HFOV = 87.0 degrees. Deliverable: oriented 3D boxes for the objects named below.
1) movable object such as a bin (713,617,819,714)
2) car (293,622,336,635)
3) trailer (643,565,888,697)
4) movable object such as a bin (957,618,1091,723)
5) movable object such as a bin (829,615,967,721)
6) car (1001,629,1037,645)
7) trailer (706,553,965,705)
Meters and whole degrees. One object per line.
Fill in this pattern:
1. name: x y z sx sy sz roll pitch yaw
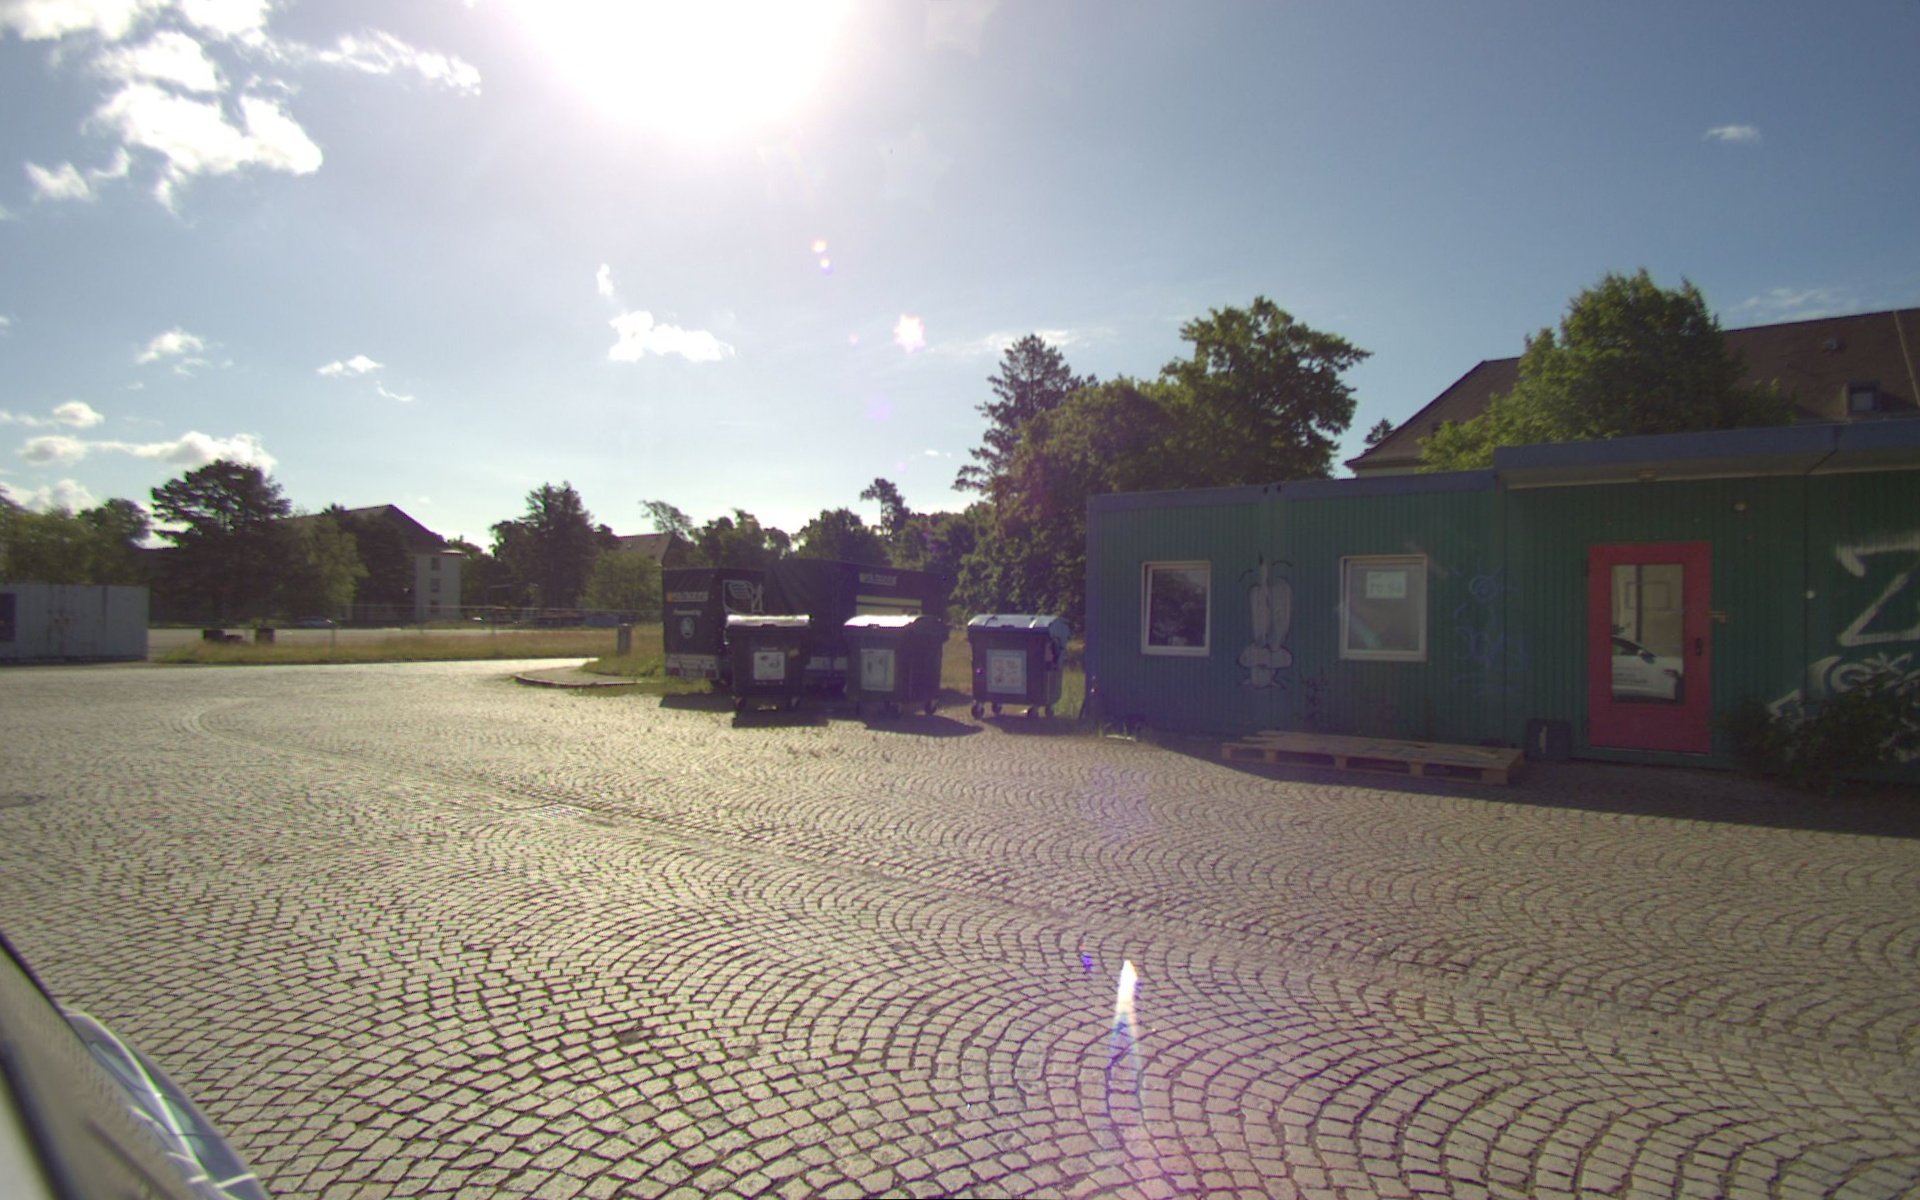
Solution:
1. movable object such as a bin: -2.940 0.980 15.504 1.511 1.397 1.388 1 -2 -8
2. car: -77.337 3.441 121.295 1.993 1.594 3.957 0 -2 32
3. trailer: -3.759 0.624 20.336 2.133 2.315 4.612 -1 -2 37
4. movable object such as a bin: 0.937 0.962 14.431 1.526 1.397 1.375 0 -2 24
5. movable object such as a bin: -0.899 0.945 14.685 1.533 1.433 1.284 -1 -2 37
6. car: 6.905 4.334 118.643 2.243 1.853 4.296 -1 -2 36
7. trailer: -2.082 0.534 18.546 2.089 2.373 4.921 -1 -2 32
